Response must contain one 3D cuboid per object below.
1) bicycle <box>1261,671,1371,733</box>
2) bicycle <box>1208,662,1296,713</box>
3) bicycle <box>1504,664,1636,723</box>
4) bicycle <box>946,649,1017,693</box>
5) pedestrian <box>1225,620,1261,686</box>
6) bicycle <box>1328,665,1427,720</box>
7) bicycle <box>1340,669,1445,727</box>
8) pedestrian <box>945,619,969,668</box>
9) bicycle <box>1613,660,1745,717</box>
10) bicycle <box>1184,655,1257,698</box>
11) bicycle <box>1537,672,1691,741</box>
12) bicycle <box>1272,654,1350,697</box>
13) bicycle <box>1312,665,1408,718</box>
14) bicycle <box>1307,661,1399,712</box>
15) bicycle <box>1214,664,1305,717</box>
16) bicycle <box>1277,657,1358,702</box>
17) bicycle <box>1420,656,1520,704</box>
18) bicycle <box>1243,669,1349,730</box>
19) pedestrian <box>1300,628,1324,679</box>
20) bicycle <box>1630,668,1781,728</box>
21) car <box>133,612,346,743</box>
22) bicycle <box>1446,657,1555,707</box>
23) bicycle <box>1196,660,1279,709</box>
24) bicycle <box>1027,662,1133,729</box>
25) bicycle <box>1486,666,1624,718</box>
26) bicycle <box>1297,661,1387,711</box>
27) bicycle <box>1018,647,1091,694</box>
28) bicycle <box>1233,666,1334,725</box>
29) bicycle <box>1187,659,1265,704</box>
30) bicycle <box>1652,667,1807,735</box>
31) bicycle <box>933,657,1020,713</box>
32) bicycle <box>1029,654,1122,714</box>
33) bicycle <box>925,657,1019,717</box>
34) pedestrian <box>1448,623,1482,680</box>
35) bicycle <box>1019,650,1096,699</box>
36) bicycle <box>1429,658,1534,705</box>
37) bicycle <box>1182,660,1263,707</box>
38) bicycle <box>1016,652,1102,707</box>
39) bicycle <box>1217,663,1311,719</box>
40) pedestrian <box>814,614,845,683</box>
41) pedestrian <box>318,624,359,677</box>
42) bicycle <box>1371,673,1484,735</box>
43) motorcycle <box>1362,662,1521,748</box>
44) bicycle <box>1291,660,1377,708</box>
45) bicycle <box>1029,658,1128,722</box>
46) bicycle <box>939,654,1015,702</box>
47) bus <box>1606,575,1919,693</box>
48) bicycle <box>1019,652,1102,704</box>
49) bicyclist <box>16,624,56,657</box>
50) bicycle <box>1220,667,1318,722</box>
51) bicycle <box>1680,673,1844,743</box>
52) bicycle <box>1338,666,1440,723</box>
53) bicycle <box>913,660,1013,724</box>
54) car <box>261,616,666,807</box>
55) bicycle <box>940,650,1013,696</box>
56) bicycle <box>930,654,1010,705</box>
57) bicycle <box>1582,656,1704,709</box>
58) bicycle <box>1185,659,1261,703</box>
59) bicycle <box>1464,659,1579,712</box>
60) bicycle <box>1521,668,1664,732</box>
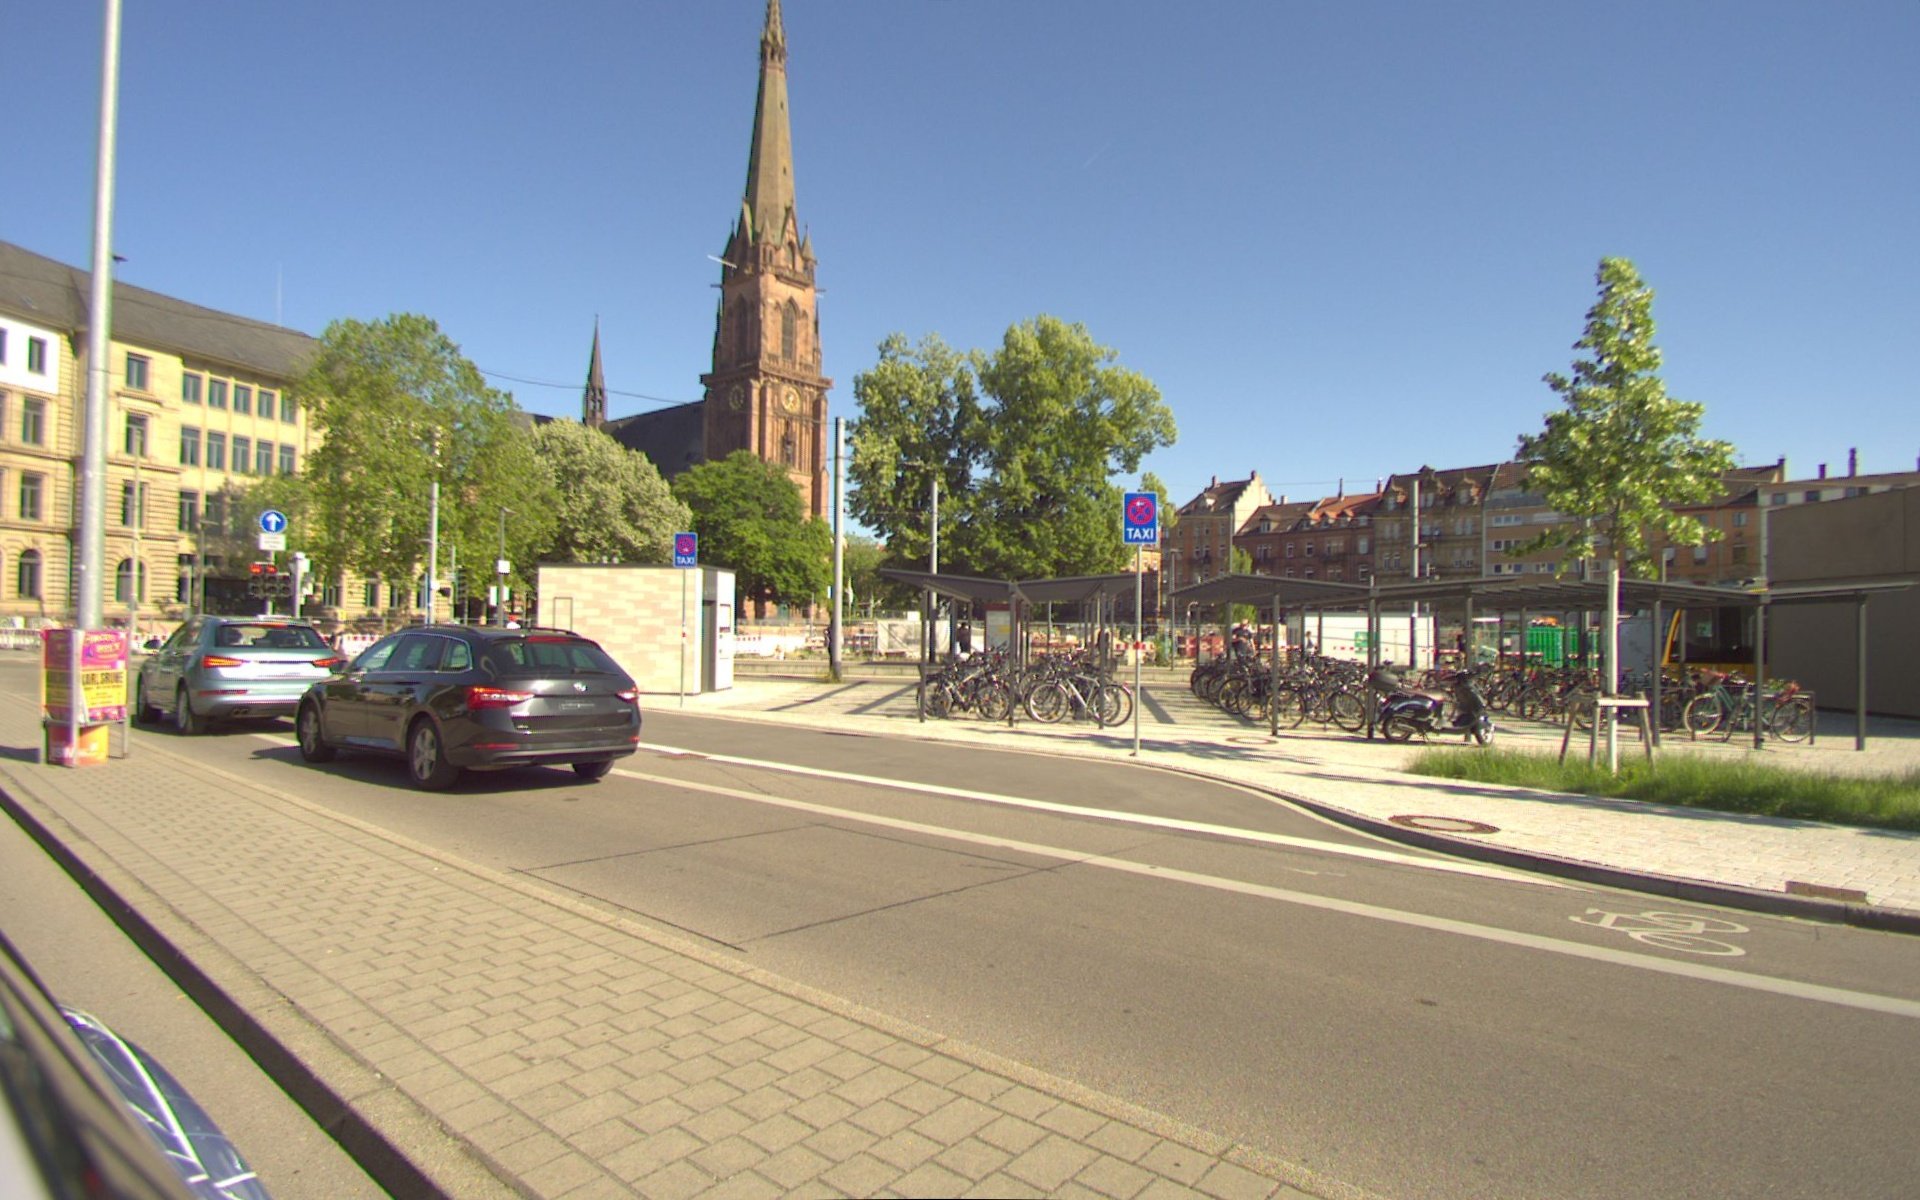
[{"bbox_3d":[5.927,1.701,16.895,1.661,0.980,0.406,-1,0,3],"label":"bicycle"},{"bbox_3d":[5.918,1.784,20.570,1.661,0.980,0.406,1,-5,3],"label":"bicycle"},{"bbox_3d":[11.315,1.732,18.818,2.048,1.045,0.533,-1,0,8],"label":"bicycle"},{"bbox_3d":[0.510,1.700,24.193,1.663,1.006,0.406,0,0,8],"label":"bicycle"},{"bbox_3d":[7.657,1.428,27.383,0.823,1.740,0.620,0,-2,4],"label":"pedestrian"},{"bbox_3d":[7.835,1.730,19.019,1.661,0.980,0.406,-1,0,3],"label":"bicycle"},{"bbox_3d":[7.636,1.724,17.898,1.661,0.980,0.406,-1,0,3],"label":"bicycle"},{"bbox_3d":[-0.104,1.694,39.208,0.610,1.874,0.703,2,-2,-39],"label":"pedestrian"},{"bbox_3d":[13.845,1.699,19.531,2.048,1.045,0.533,-1,0,8],"label":"bicycle"},{"bbox_3d":[6.249,1.835,24.317,1.661,0.980,0.406,1,-5,3],"label":"bicycle"},{"bbox_3d":[10.566,1.710,16.395,2.048,1.045,0.533,-1,0,8],"label":"bicycle"},{"bbox_3d":[8.284,1.784,23.920,1.661,0.980,0.406,-1,0,3],"label":"bicycle"},{"bbox_3d":[7.709,1.762,19.535,1.661,0.980,0.406,-1,0,3],"label":"bicycle"},{"bbox_3d":[7.850,1.729,20.235,1.661,0.980,0.406,-1,0,3],"label":"bicycle"},{"bbox_3d":[5.894,1.779,19.964,1.661,0.980,0.406,1,0,3],"label":"bicycle"},{"bbox_3d":[8.066,1.787,22.844,1.661,0.980,0.406,-1,0,3],"label":"bicycle"},{"bbox_3d":[12.293,1.919,24.435,2.048,1.045,0.533,1,3,8],"label":"bicycle"},{"bbox_3d":[5.787,1.708,17.469,1.661,0.980,0.406,1,0,3],"label":"bicycle"},{"bbox_3d":[13.954,2.115,40.142,0.793,2.029,0.535,0,-2,4],"label":"pedestrian"},{"bbox_3d":[13.472,1.763,18.336,2.117,1.005,0.690,-1,0,7],"label":"bicycle"},{"bbox_3d":[-10.412,1.028,14.497,1.767,1.594,4.260,4,-4,-44],"label":"car"},{"bbox_3d":[11.859,1.801,22.261,2.048,1.045,0.533,-1,2,8],"label":"bicycle"},{"bbox_3d":[5.918,1.804,21.645,1.661,0.980,0.406,1,-5,3],"label":"bicycle"},{"bbox_3d":[2.015,1.604,17.098,1.753,1.083,0.406,1,-3,6],"label":"bicycle"},{"bbox_3d":[11.607,1.797,19.796,2.208,0.951,0.685,-1,0,7],"label":"bicycle"},{"bbox_3d":[7.854,1.760,20.831,1.661,0.980,0.406,-1,0,3],"label":"bicycle"},{"bbox_3d":[2.307,1.722,24.683,1.755,1.083,0.406,1,0,6],"label":"bicycle"},{"bbox_3d":[5.808,1.708,18.194,1.661,0.980,0.406,1,0,3],"label":"bicycle"},{"bbox_3d":[6.046,1.859,23.057,1.661,0.980,0.406,1,-5,3],"label":"bicycle"},{"bbox_3d":[12.982,1.696,17.121,2.030,1.087,0.604,-1,0,7],"label":"bicycle"},{"bbox_3d":[0.321,1.662,19.950,1.663,1.006,0.406,2,0,8],"label":"bicycle"},{"bbox_3d":[2.228,1.619,19.588,1.755,1.083,0.406,1,0,6],"label":"bicycle"},{"bbox_3d":[0.224,1.595,18.607,1.663,1.006,0.406,2,0,8],"label":"bicycle"},{"bbox_3d":[17.638,1.787,35.366,0.793,1.931,0.769,0,-2,4],"label":"pedestrian"},{"bbox_3d":[2.265,1.730,23.504,1.755,1.083,0.406,1,0,6],"label":"bicycle"},{"bbox_3d":[12.024,1.879,23.380,2.048,1.045,0.533,-1,-4,8],"label":"bicycle"},{"bbox_3d":[5.779,1.836,22.302,1.661,0.980,0.406,1,-5,3],"label":"bicycle"},{"bbox_3d":[2.046,1.641,20.978,1.755,1.083,0.406,1,0,6],"label":"bicycle"},{"bbox_3d":[5.807,1.736,19.381,1.661,0.980,0.406,1,0,3],"label":"bicycle"},{"bbox_3d":[-3.550,1.315,27.595,0.694,1.874,0.619,0,-2,9],"label":"pedestrian"},{"bbox_3d":[-20.017,1.606,32.616,0.628,1.680,0.923,-1,-2,29],"label":"pedestrian"},{"bbox_3d":[7.761,1.722,16.827,1.661,0.980,0.406,-1,0,3],"label":"bicycle"},{"bbox_3d":[7.186,1.569,15.165,2.059,1.228,0.569,-1,-2,3],"label":"motorcycle"},{"bbox_3d":[7.981,1.788,21.629,1.661,0.980,0.406,-1,0,3],"label":"bicycle"},{"bbox_3d":[2.132,1.615,18.342,1.753,1.083,0.406,1,0,6],"label":"bicycle"},{"bbox_3d":[0.378,1.703,22.290,1.663,1.006,0.406,0,0,8],"label":"bicycle"},{"bbox_3d":[25.967,0.951,28.197,13.462,3.095,2.859,0,-2,6],"label":"bus"},{"bbox_3d":[2.186,1.693,22.034,1.755,1.083,0.406,1,0,6],"label":"bicycle"},{"bbox_3d":[-42.851,1.875,46.937,1.125,1.552,0.684,1,-2,-14],"label":"bicyclist"},{"bbox_3d":[5.721,1.749,18.774,1.661,0.980,0.406,-1,0,3],"label":"bicycle"},{"bbox_3d":[12.760,1.714,16.144,2.048,1.045,0.533,-1,0,8],"label":"bicycle"},{"bbox_3d":[7.816,1.721,18.465,1.661,0.980,0.406,-1,0,3],"label":"bicycle"},{"bbox_3d":[0.060,1.572,17.388,1.663,1.006,0.406,2,0,8],"label":"bicycle"},{"bbox_3d":[-5.198,0.978,10.286,4.779,1.516,1.796,-1,-4,39],"label":"car"},{"bbox_3d":[0.386,1.700,23.667,1.663,1.006,0.406,0,0,8],"label":"bicycle"},{"bbox_3d":[0.222,1.674,21.409,1.663,1.006,0.406,0,0,8],"label":"bicycle"},{"bbox_3d":[14.071,1.696,20.883,2.048,1.045,0.533,-1,0,8],"label":"bicycle"},{"bbox_3d":[6.130,1.880,23.630,1.661,0.980,0.406,1,-5,3],"label":"bicycle"},{"bbox_3d":[11.769,1.794,21.270,2.048,1.045,0.533,-1,2,8],"label":"bicycle"},{"bbox_3d":[10.993,1.737,17.641,2.048,1.045,0.533,-1,0,8],"label":"bicycle"}]
